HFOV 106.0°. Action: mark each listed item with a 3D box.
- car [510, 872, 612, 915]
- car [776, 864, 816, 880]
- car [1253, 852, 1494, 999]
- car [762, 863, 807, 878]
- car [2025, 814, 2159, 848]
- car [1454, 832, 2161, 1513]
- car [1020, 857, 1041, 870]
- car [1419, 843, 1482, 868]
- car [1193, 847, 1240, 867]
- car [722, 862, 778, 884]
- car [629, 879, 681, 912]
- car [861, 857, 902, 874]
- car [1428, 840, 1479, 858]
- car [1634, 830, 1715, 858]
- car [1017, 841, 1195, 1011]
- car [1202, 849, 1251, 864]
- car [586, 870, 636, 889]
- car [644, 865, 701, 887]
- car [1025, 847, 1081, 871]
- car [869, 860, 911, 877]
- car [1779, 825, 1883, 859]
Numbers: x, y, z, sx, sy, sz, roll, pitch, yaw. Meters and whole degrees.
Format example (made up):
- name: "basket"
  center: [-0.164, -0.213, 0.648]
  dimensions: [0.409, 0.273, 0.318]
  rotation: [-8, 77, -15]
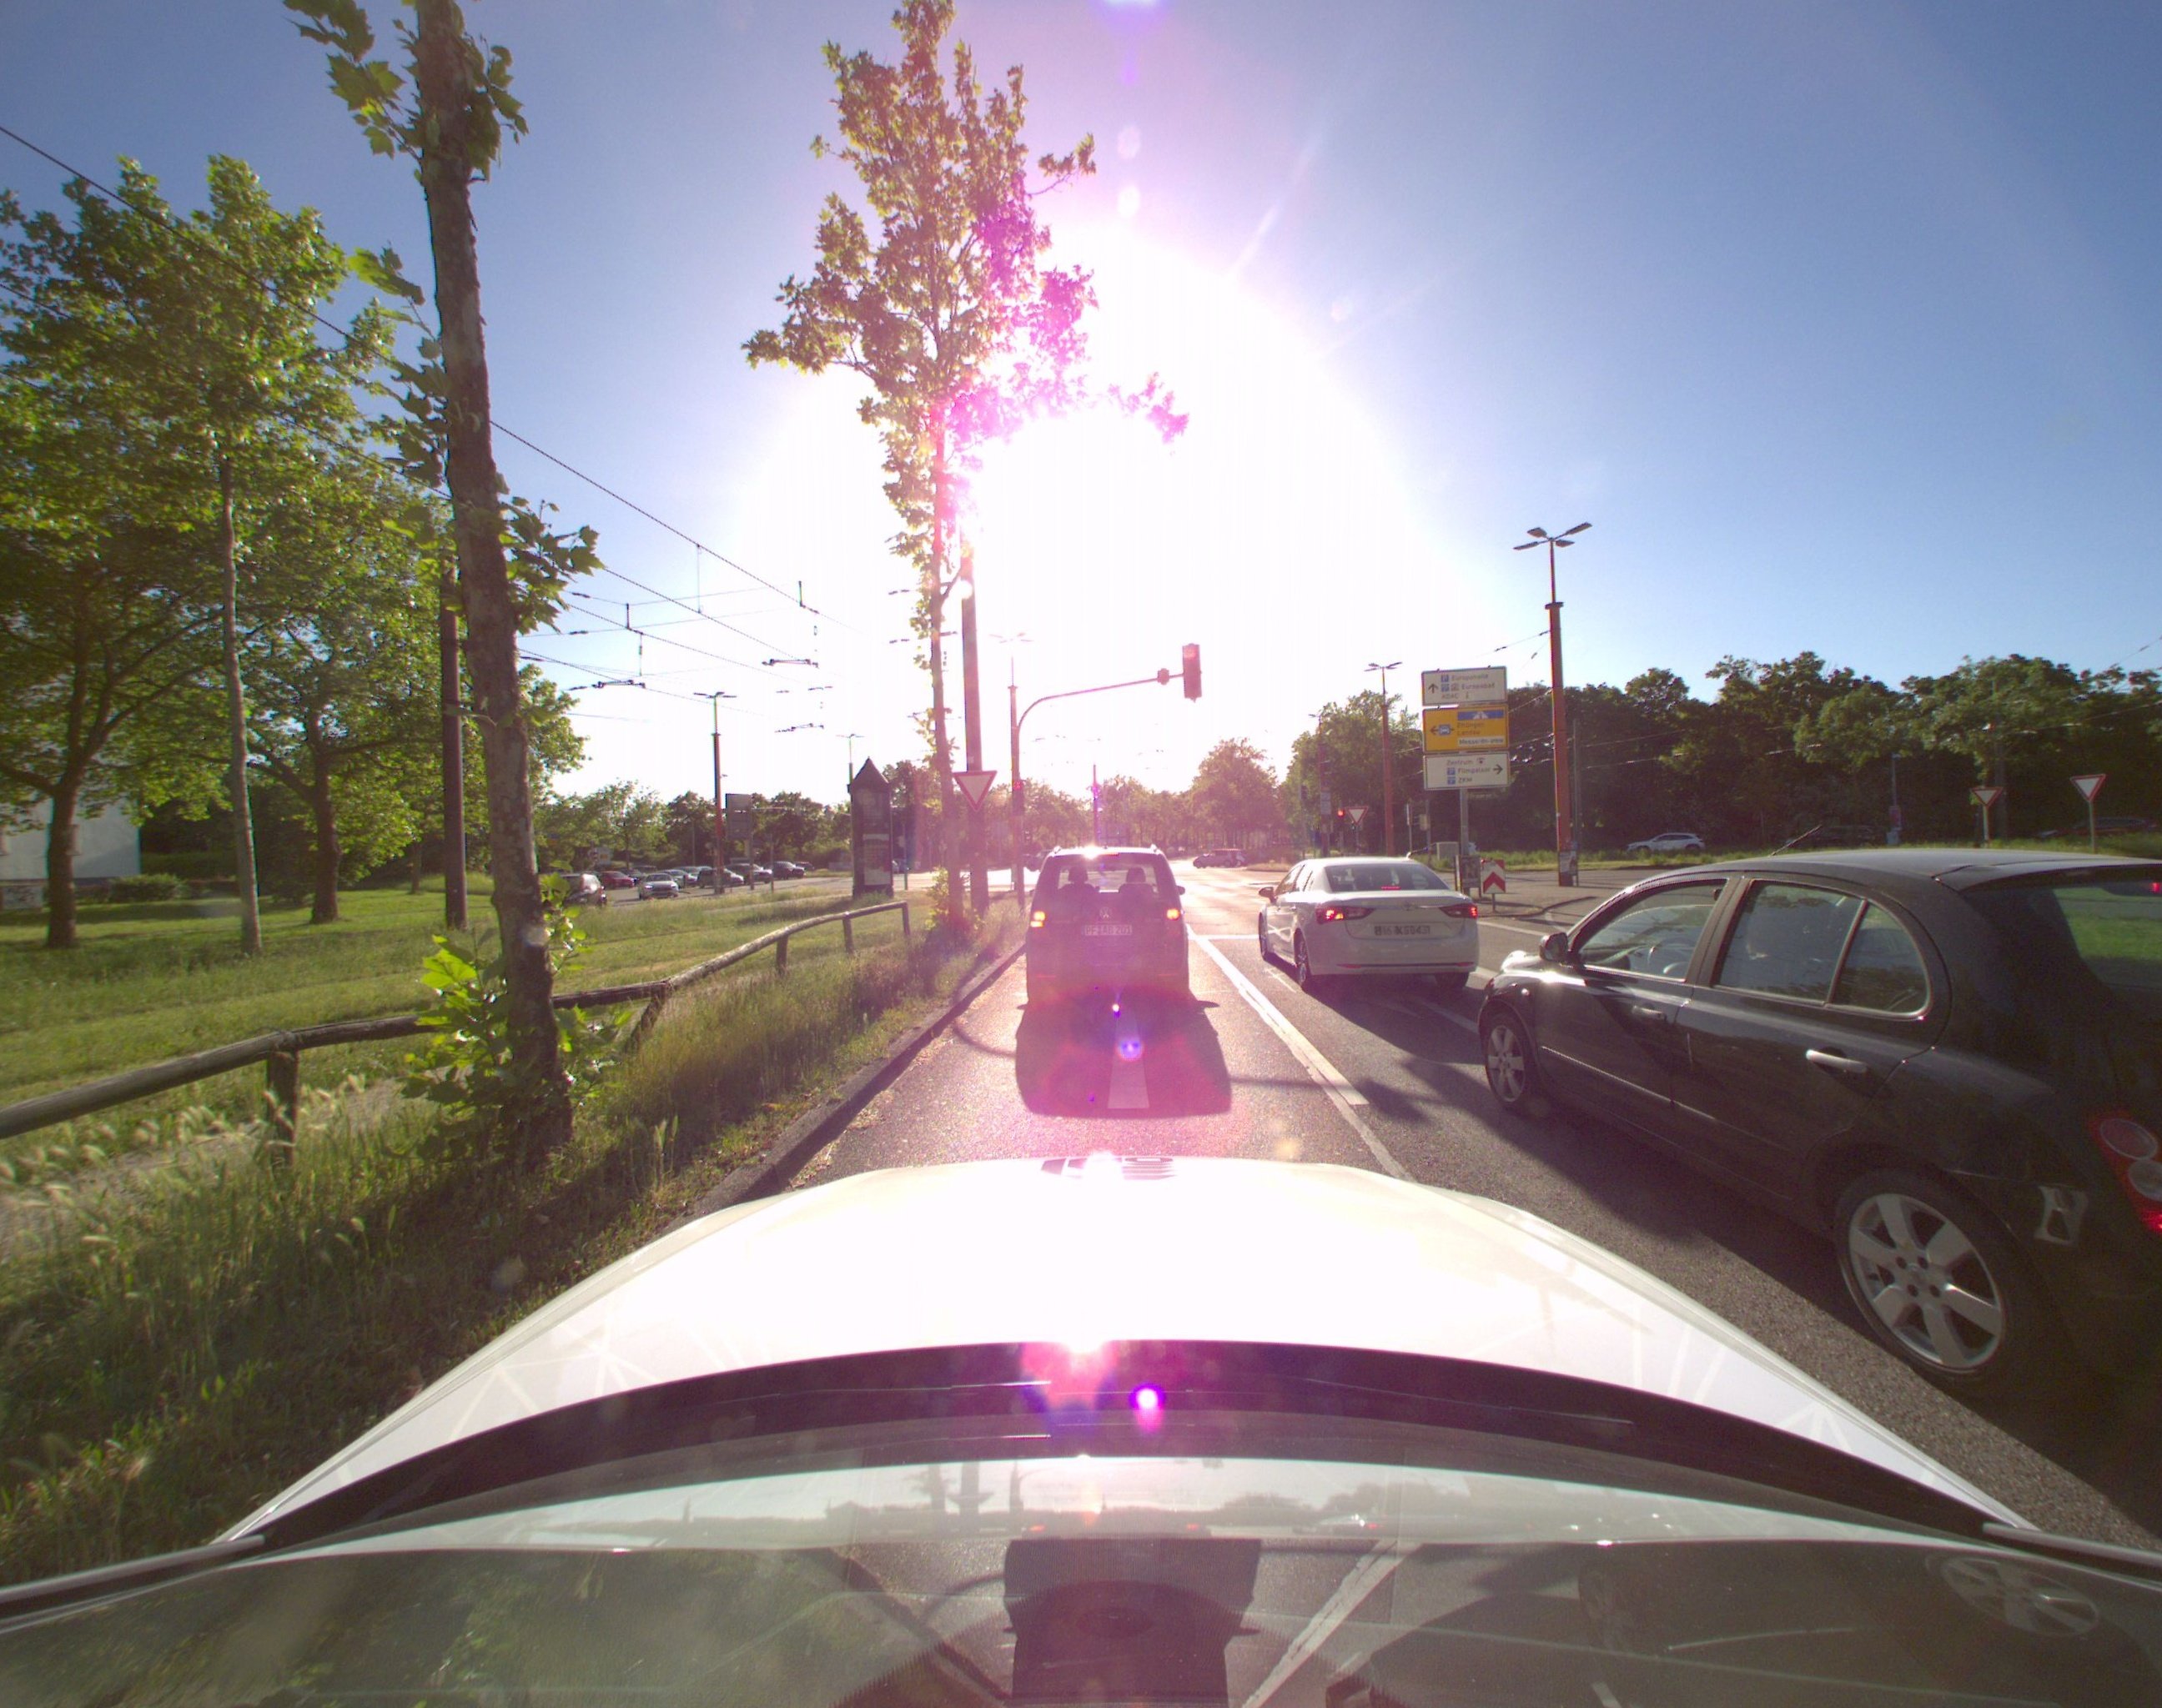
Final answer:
- name: "car"
  center: [-18.786, 1.403, 29.565]
  dimensions: [1.791, 1.390, 2.850]
  rotation: [-2, 0, 2]
- name: "car"
  center: [-31.154, 1.968, 88.868]
  dimensions: [4.080, 1.598, 1.840]
  rotation: [-2, 0, 29]
- name: "car"
  center: [3.327, 0.710, 10.139]
  dimensions: [1.713, 1.438, 4.202]
  rotation: [-1, 0, 3]
- name: "car"
  center: [-26.532, 1.477, 72.834]
  dimensions: [3.948, 1.330, 1.709]
  rotation: [-2, 0, 33]
- name: "car"
  center: [55.715, -1.225, 44.993]
  dimensions: [4.249, 1.705, 1.858]
  rotation: [-2, 0, 31]
- name: "car"
  center: [3.232, 0.693, 3.585]
  dimensions: [1.647, 1.500, 3.617]
  rotation: [-1, 0, 2]
- name: "car"
  center: [-6.767, 1.241, 109.374]
  dimensions: [1.904, 1.635, 4.010]
  rotation: [0, 0, 9]
- name: "car"
  center: [26.141, 0.104, 57.641]
  dimensions: [3.987, 1.596, 2.012]
  rotation: [-2, 0, 25]
- name: "car"
  center: [10.863, 0.243, 65.376]
  dimensions: [3.363, 1.457, 1.473]
  rotation: [-2, 0, 24]
- name: "car"
  center: [-26.579, 1.540, 65.349]
  dimensions: [3.950, 1.644, 2.012]
  rotation: [-2, 0, 26]
- name: "car"
  center: [-25.565, 2.425, 48.754]
  dimensions: [2.009, 1.731, 4.791]
  rotation: [-1, 0, -37]
- name: "car"
  center: [-20.217, 1.164, 82.386]
  dimensions: [3.783, 1.523, 1.705]
  rotation: [-2, 0, 27]
- name: "car"
  center: [27.778, -0.354, 60.746]
  dimensions: [3.404, 1.368, 1.298]
  rotation: [0, -1, 28]
- name: "car"
  center: [39.380, -0.655, 54.186]
  dimensions: [4.188, 1.681, 1.713]
  rotation: [-2, 0, 32]
- name: "car"
  center: [0.298, 0.701, 9.915]
  dimensions: [1.694, 1.621, 3.898]
  rotation: [-2, 0, 1]
- name: "car"
  center: [12.392, 0.237, 69.394]
  dimensions: [3.793, 1.264, 1.612]
  rotation: [0, -1, 25]
- name: "car"
  center: [-39.405, 2.132, 68.229]
  dimensions: [3.949, 1.513, 1.743]
  rotation: [-2, 0, 27]
- name: "car"
  center: [-32.415, 1.731, 64.635]
  dimensions: [4.135, 1.612, 1.880]
  rotation: [-2, 0, 27]
- name: "car"
  center: [-2.520, 0.479, 73.382]
  dimensions: [4.528, 2.013, 2.012]
  rotation: [-2, 0, 26]
- name: "car"
  center: [-20.616, 1.584, 87.927]
  dimensions: [4.081, 1.644, 1.864]
  rotation: [-2, 0, 28]
- name: "car"
  center: [44.209, -0.687, 48.116]
  dimensions: [4.154, 1.883, 1.777]
  rotation: [-2, 0, 25]
